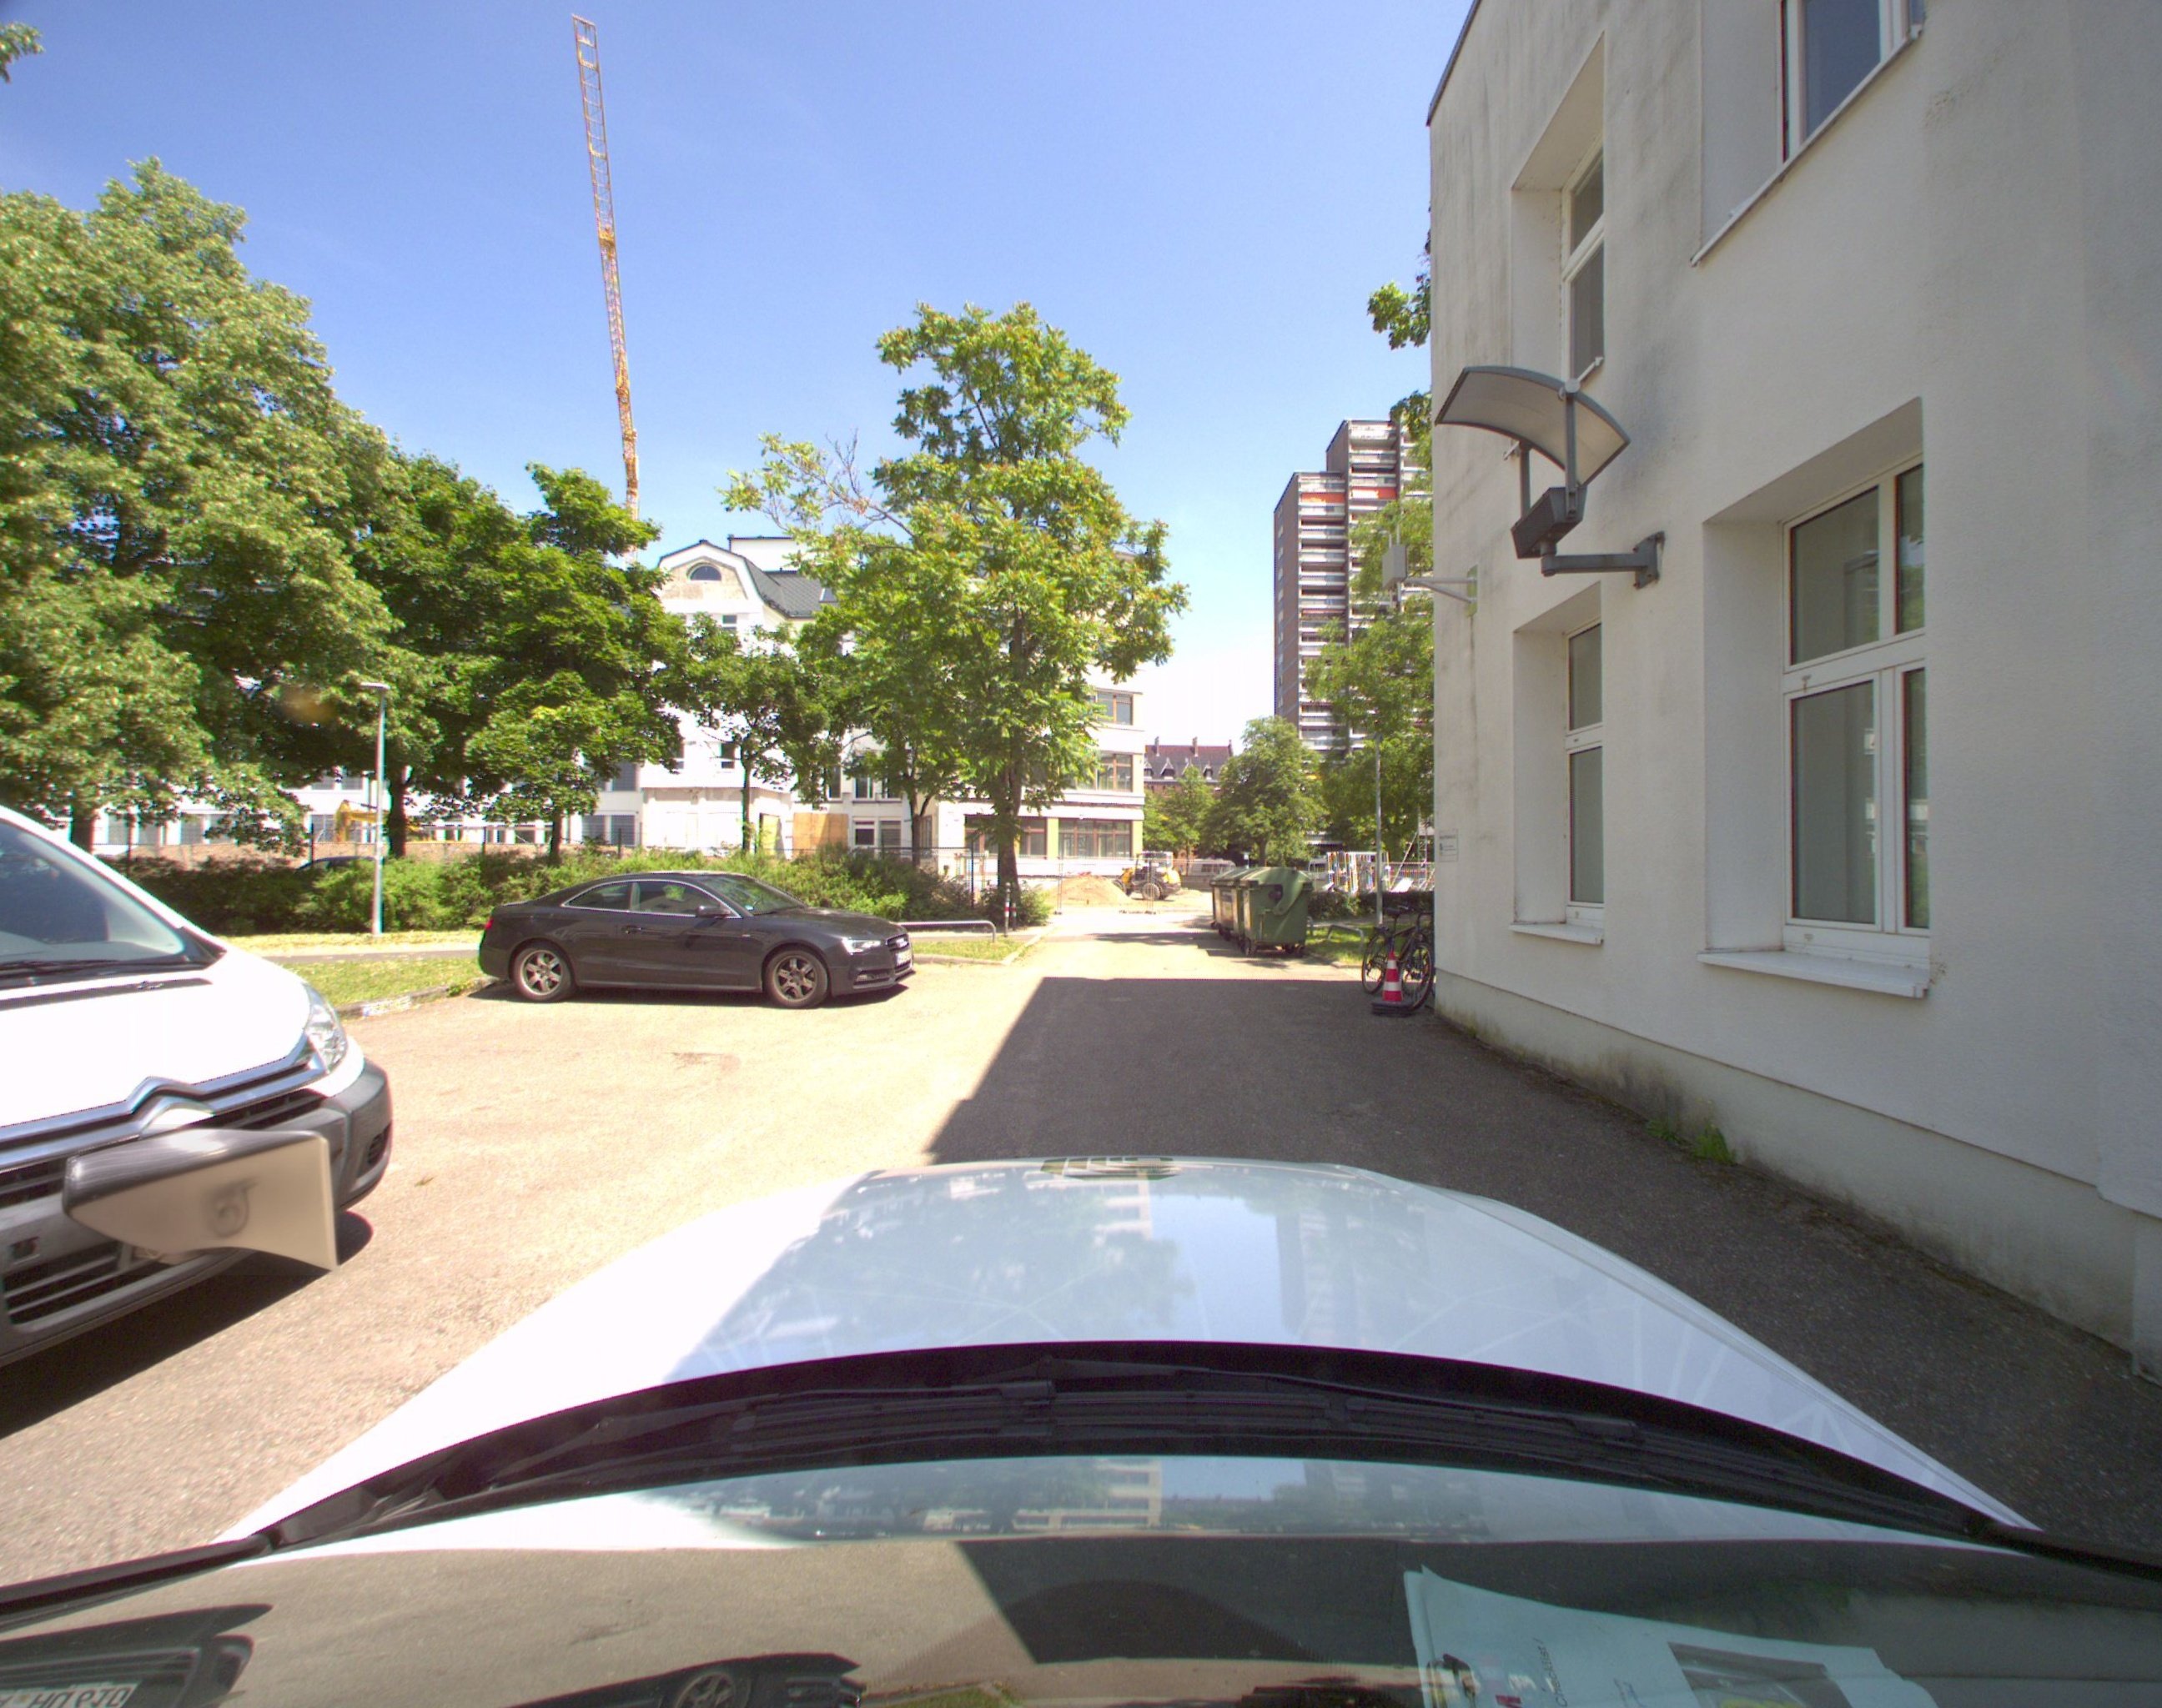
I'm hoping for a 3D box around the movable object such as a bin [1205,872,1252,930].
[{"bbox_3d":[3.847,1.215,21.324,1.071,1.458,1.378,0,-2,4],"label":"movable object such as a bin"}]

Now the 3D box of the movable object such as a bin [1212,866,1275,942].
[{"bbox_3d":[3.246,0.989,16.417,1.071,1.458,1.378,0,-2,4],"label":"movable object such as a bin"}]

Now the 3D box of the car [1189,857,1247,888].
[{"bbox_3d":[11.101,1.529,66.363,2.004,2.417,5.198,1,-2,-26],"label":"car"}]

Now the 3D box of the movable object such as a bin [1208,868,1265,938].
[{"bbox_3d":[3.377,1.043,17.835,1.071,1.458,1.378,0,-2,4],"label":"movable object such as a bin"}]

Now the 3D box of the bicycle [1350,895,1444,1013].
[{"bbox_3d":[3.383,1.019,8.856,0.403,1.102,1.827,0,-2,3],"label":"bicycle"}]

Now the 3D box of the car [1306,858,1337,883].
[{"bbox_3d":[23.032,1.615,77.881,2.164,2.258,4.896,-1,-2,24],"label":"car"}]

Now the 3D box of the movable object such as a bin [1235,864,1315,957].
[{"bbox_3d":[3.181,0.907,13.501,1.071,1.458,1.378,0,-2,4],"label":"movable object such as a bin"}]

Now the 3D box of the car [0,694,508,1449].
[{"bbox_3d":[-5.054,0.556,2.740,4.825,1.884,2.070,0,-2,4],"label":"car"}]

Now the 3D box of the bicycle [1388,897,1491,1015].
[{"bbox_3d":[3.852,1.044,8.890,0.403,1.102,1.827,0,-2,3],"label":"bicycle"}]

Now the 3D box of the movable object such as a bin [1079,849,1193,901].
[{"bbox_3d":[2.846,1.060,42.593,5.351,2.464,2.382,1,-1,31],"label":"movable object such as a bin"}]

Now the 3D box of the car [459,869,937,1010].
[{"bbox_3d":[-4.073,0.870,9.208,4.409,1.380,2.026,0,-2,4],"label":"car"}]

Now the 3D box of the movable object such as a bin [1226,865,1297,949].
[{"bbox_3d":[3.277,0.948,14.942,1.071,1.458,1.378,0,-2,4],"label":"movable object such as a bin"}]

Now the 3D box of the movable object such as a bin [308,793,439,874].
[{"bbox_3d":[-39.344,-1.072,45.365,5.676,4.373,2.003,0,-2,6],"label":"movable object such as a bin"}]

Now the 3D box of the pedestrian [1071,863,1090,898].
[{"bbox_3d":[-0.023,1.393,43.542,0.909,1.847,0.987,0,-2,6],"label":"pedestrian"}]
